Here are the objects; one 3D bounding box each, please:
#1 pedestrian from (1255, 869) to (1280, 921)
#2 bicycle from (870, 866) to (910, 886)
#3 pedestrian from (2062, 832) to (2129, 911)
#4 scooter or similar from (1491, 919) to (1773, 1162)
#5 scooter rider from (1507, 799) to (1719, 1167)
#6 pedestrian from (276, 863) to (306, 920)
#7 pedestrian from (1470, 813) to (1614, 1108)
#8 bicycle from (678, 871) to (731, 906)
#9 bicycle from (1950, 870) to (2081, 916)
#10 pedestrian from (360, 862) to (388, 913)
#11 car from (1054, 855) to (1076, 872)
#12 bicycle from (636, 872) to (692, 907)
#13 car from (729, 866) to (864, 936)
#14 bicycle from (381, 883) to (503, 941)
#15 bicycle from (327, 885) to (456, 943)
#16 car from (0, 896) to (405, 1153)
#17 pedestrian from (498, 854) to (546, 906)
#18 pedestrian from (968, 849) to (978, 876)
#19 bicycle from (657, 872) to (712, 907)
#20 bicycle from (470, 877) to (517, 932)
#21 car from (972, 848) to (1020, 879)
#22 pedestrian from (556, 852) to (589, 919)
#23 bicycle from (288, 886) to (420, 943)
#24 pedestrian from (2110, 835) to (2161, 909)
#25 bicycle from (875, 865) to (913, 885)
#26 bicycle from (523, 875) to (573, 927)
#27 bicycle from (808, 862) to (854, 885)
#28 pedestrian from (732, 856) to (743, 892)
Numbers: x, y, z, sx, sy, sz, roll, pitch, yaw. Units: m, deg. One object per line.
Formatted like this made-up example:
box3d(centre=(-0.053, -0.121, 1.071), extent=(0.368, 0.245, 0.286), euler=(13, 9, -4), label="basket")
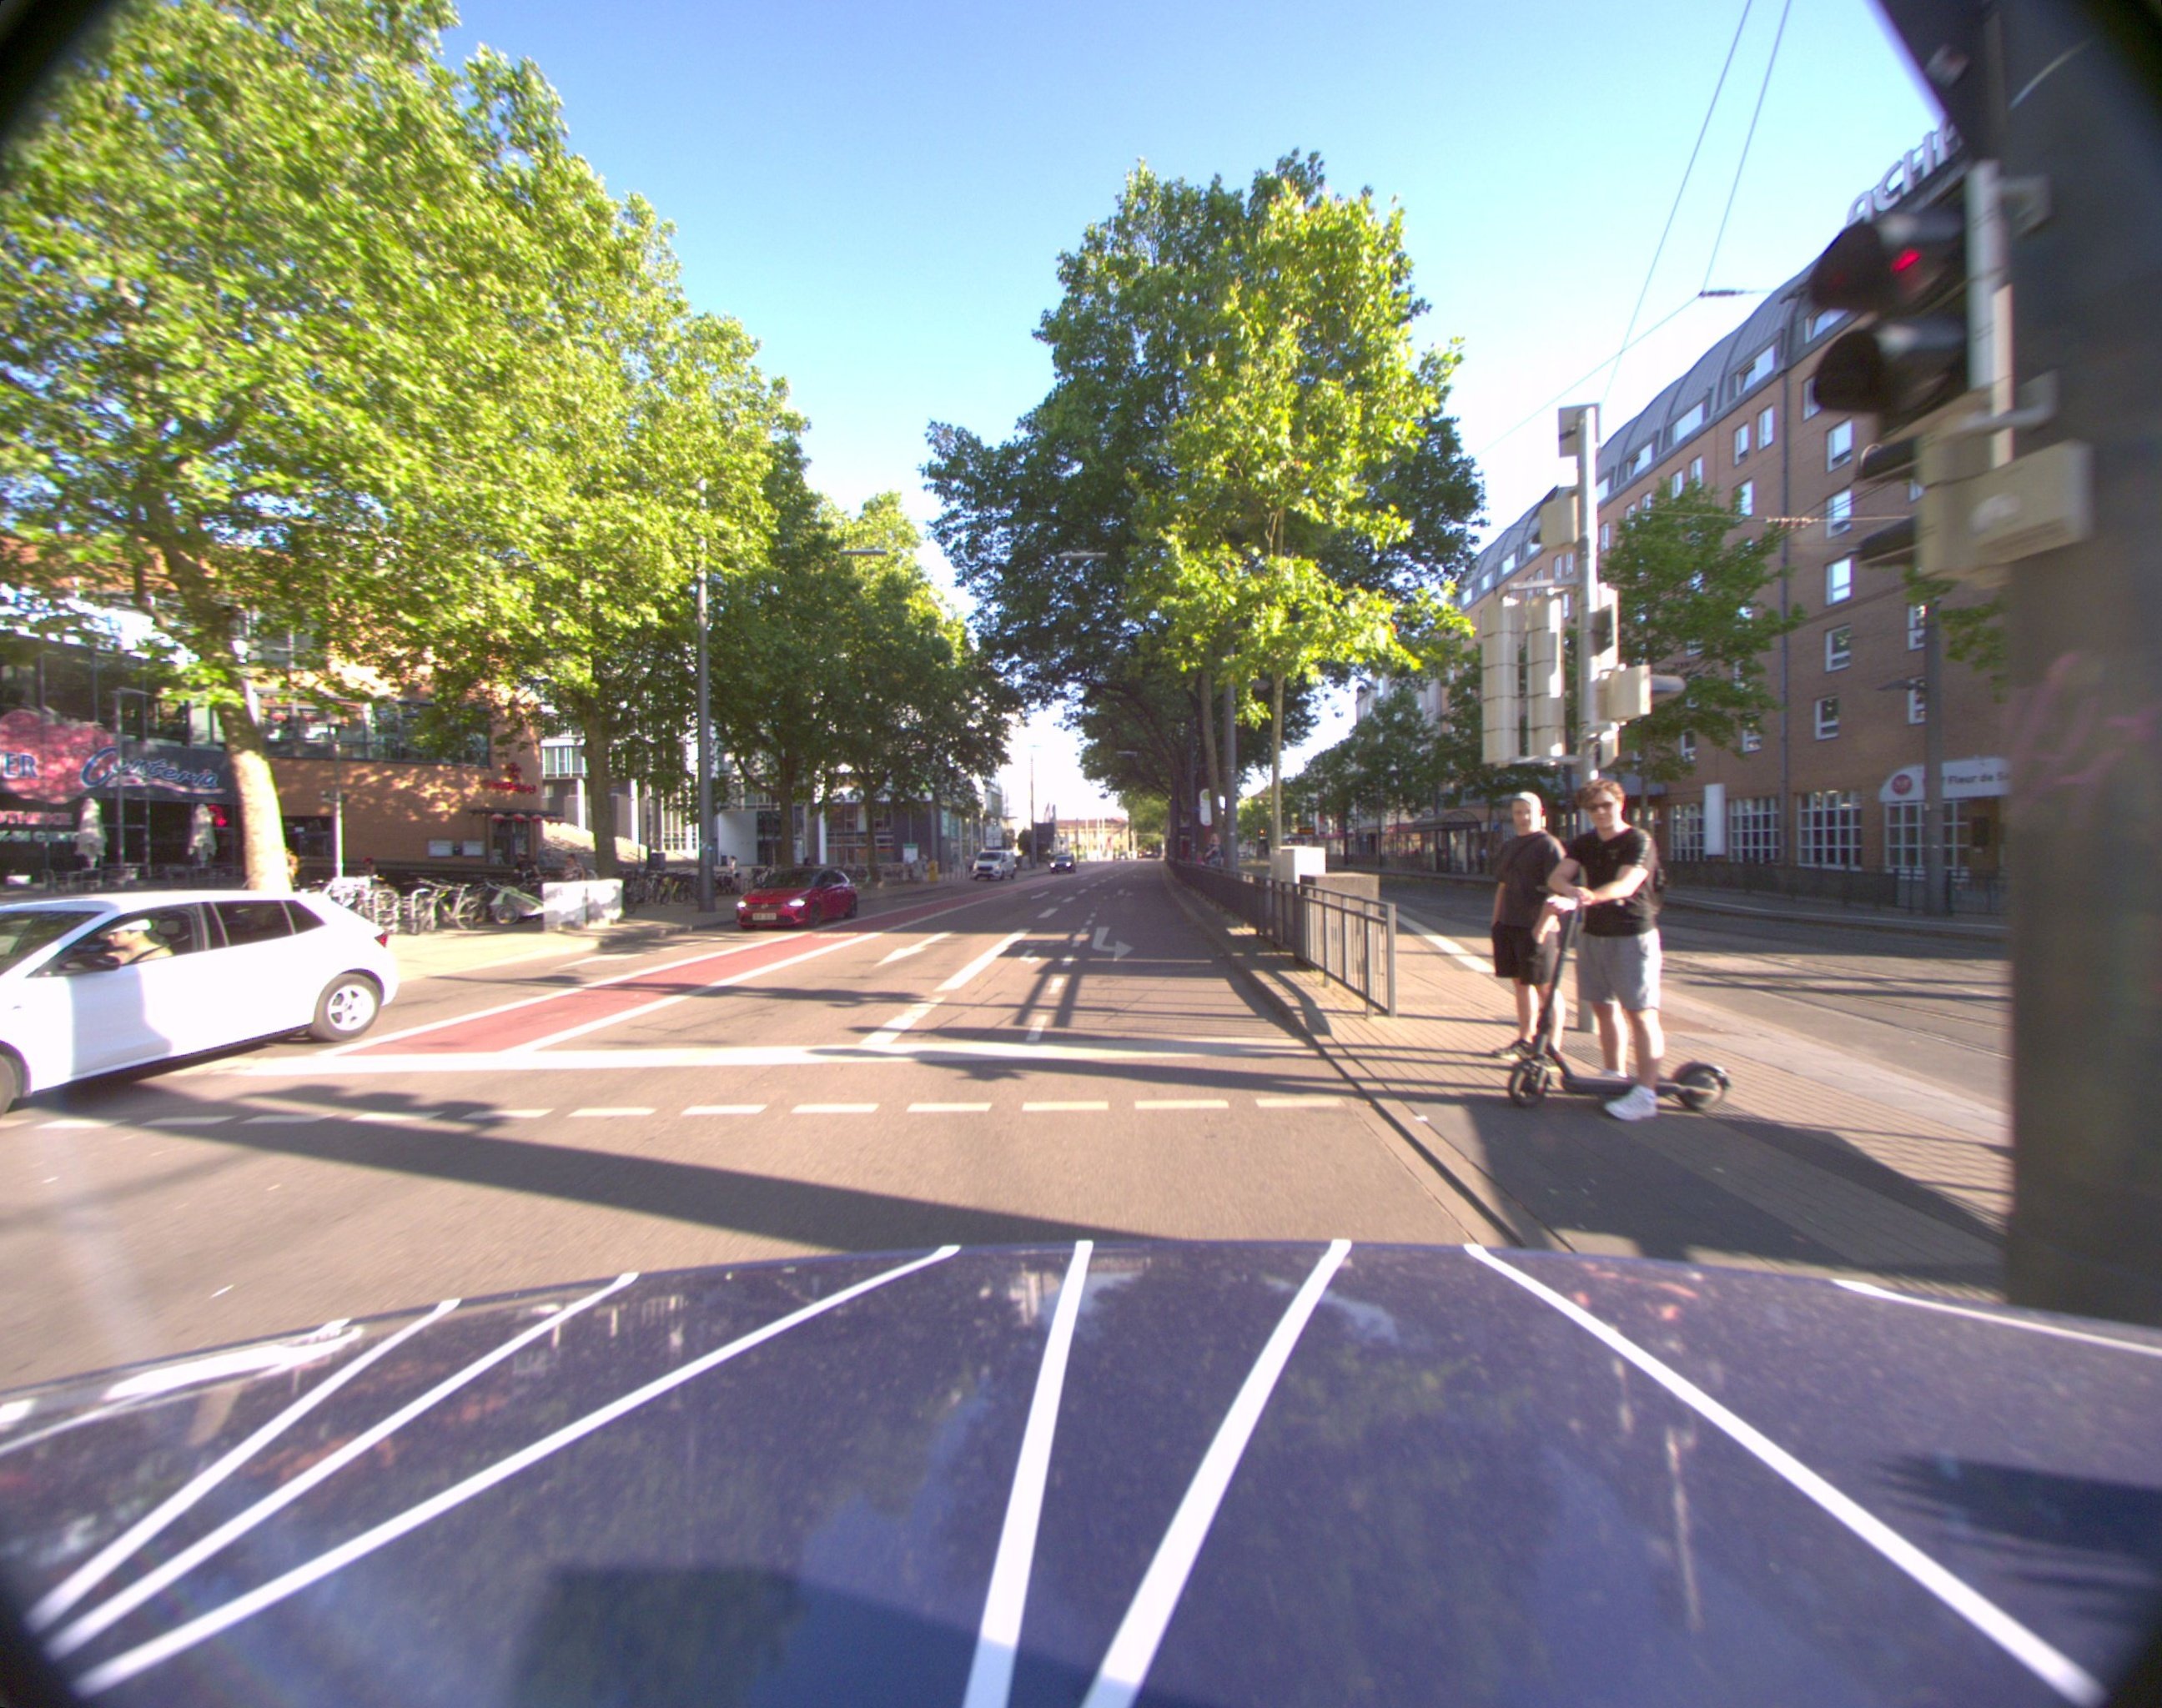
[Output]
box3d(centre=(3.784, 0.832, 15.408), extent=(0.406, 1.026, 0.378), euler=(-1, 1, -1), label="pedestrian")
box3d(centre=(-10.085, 1.158, 40.132), extent=(1.945, 1.057, 0.578), euler=(-1, 1, -2), label="bicycle")
box3d(centre=(24.704, 0.418, 18.520), extent=(0.646, 1.884, 0.746), euler=(0, 1, 17), label="pedestrian")
box3d(centre=(2.941, 0.966, 4.140), extent=(1.158, 1.172, 0.456), euler=(0, 1, 11), label="scooter or similar")
box3d(centre=(2.828, 0.640, 4.112), extent=(0.762, 1.822, 0.589), euler=(0, 1, 11), label="scooter rider")
box3d(centre=(-23.868, 1.123, 22.967), extent=(0.545, 1.660, 0.569), euler=(-1, 1, -41), label="pedestrian")
box3d(centre=(2.969, 0.647, 4.952), extent=(0.569, 1.785, 0.673), euler=(-1, 1, 6), label="pedestrian")
box3d(centre=(-12.369, 1.117, 25.042), extent=(0.578, 1.057, 1.947), euler=(-1, 0, 7), label="bicycle")
box3d(centre=(22.953, 0.928, 18.741), extent=(0.613, 1.013, 2.154), euler=(-1, 0, 2), label="bicycle")
box3d(centre=(-23.392, 1.098, 25.153), extent=(0.569, 1.660, 0.545), euler=(0, 1, 35), label="pedestrian")
box3d(centre=(-1.449, 0.838, 69.548), extent=(1.691, 1.420, 4.000), euler=(-1, 0, 2), label="car")
box3d(centre=(-13.811, 1.160, 25.240), extent=(0.578, 1.057, 1.947), euler=(-1, 0, 7), label="bicycle")
box3d(centre=(-6.877, 1.081, 18.857), extent=(1.691, 1.420, 4.000), euler=(-1, 0, 2), label="car")
box3d(centre=(-13.468, 1.192, 16.114), extent=(0.782, 1.057, 1.947), euler=(-1, 0, 7), label="bicycle")
box3d(centre=(-14.477, 1.224, 16.038), extent=(0.782, 1.057, 1.947), euler=(-1, 0, 7), label="bicycle")
box3d(centre=(-7.628, 1.174, 5.620), extent=(1.635, 1.443, 3.999), euler=(-1, 0, 0), label="car")
box3d(centre=(-16.845, 0.760, 22.912), extent=(0.765, 1.533, 0.875), euler=(-1, 1, 1), label="pedestrian")
box3d(centre=(-7.440, 0.587, 52.256), extent=(0.561, 1.788, 0.593), euler=(-1, 1, 2), label="pedestrian")
box3d(centre=(-13.041, 1.138, 25.049), extent=(0.578, 1.057, 1.947), euler=(-1, 0, 7), label="bicycle")
box3d(centre=(-14.675, 1.197, 18.941), extent=(0.785, 1.182, 3.548), euler=(-1, 1, -39), label="bicycle")
box3d(centre=(-5.745, 0.591, 51.940), extent=(1.970, 1.934, 4.968), euler=(-1, 0, 9), label="car")
box3d(centre=(-12.865, 0.791, 19.242), extent=(0.571, 1.660, 0.542), euler=(-1, 1, -24), label="pedestrian")
box3d(centre=(-15.346, 1.250, 16.118), extent=(0.782, 1.057, 1.947), euler=(-1, 0, 7), label="bicycle")
box3d(centre=(25.392, 0.419, 18.157), extent=(0.646, 1.732, 0.706), euler=(-1, 1, 17), label="pedestrian")
box3d(centre=(-10.420, 1.157, 42.409), extent=(1.945, 1.057, 0.578), euler=(-1, 1, -2), label="bicycle")
box3d(centre=(-14.026, 1.172, 19.933), extent=(0.785, 1.182, 3.548), euler=(-1, 1, -39), label="bicycle")
box3d(centre=(-11.805, 0.922, 35.938), extent=(1.945, 1.057, 0.578), euler=(-1, 1, -2), label="bicycle")
box3d(centre=(-14.880, 0.877, 32.929), extent=(0.411, 1.546, 0.447), euler=(-1, 1, -24), label="pedestrian")
